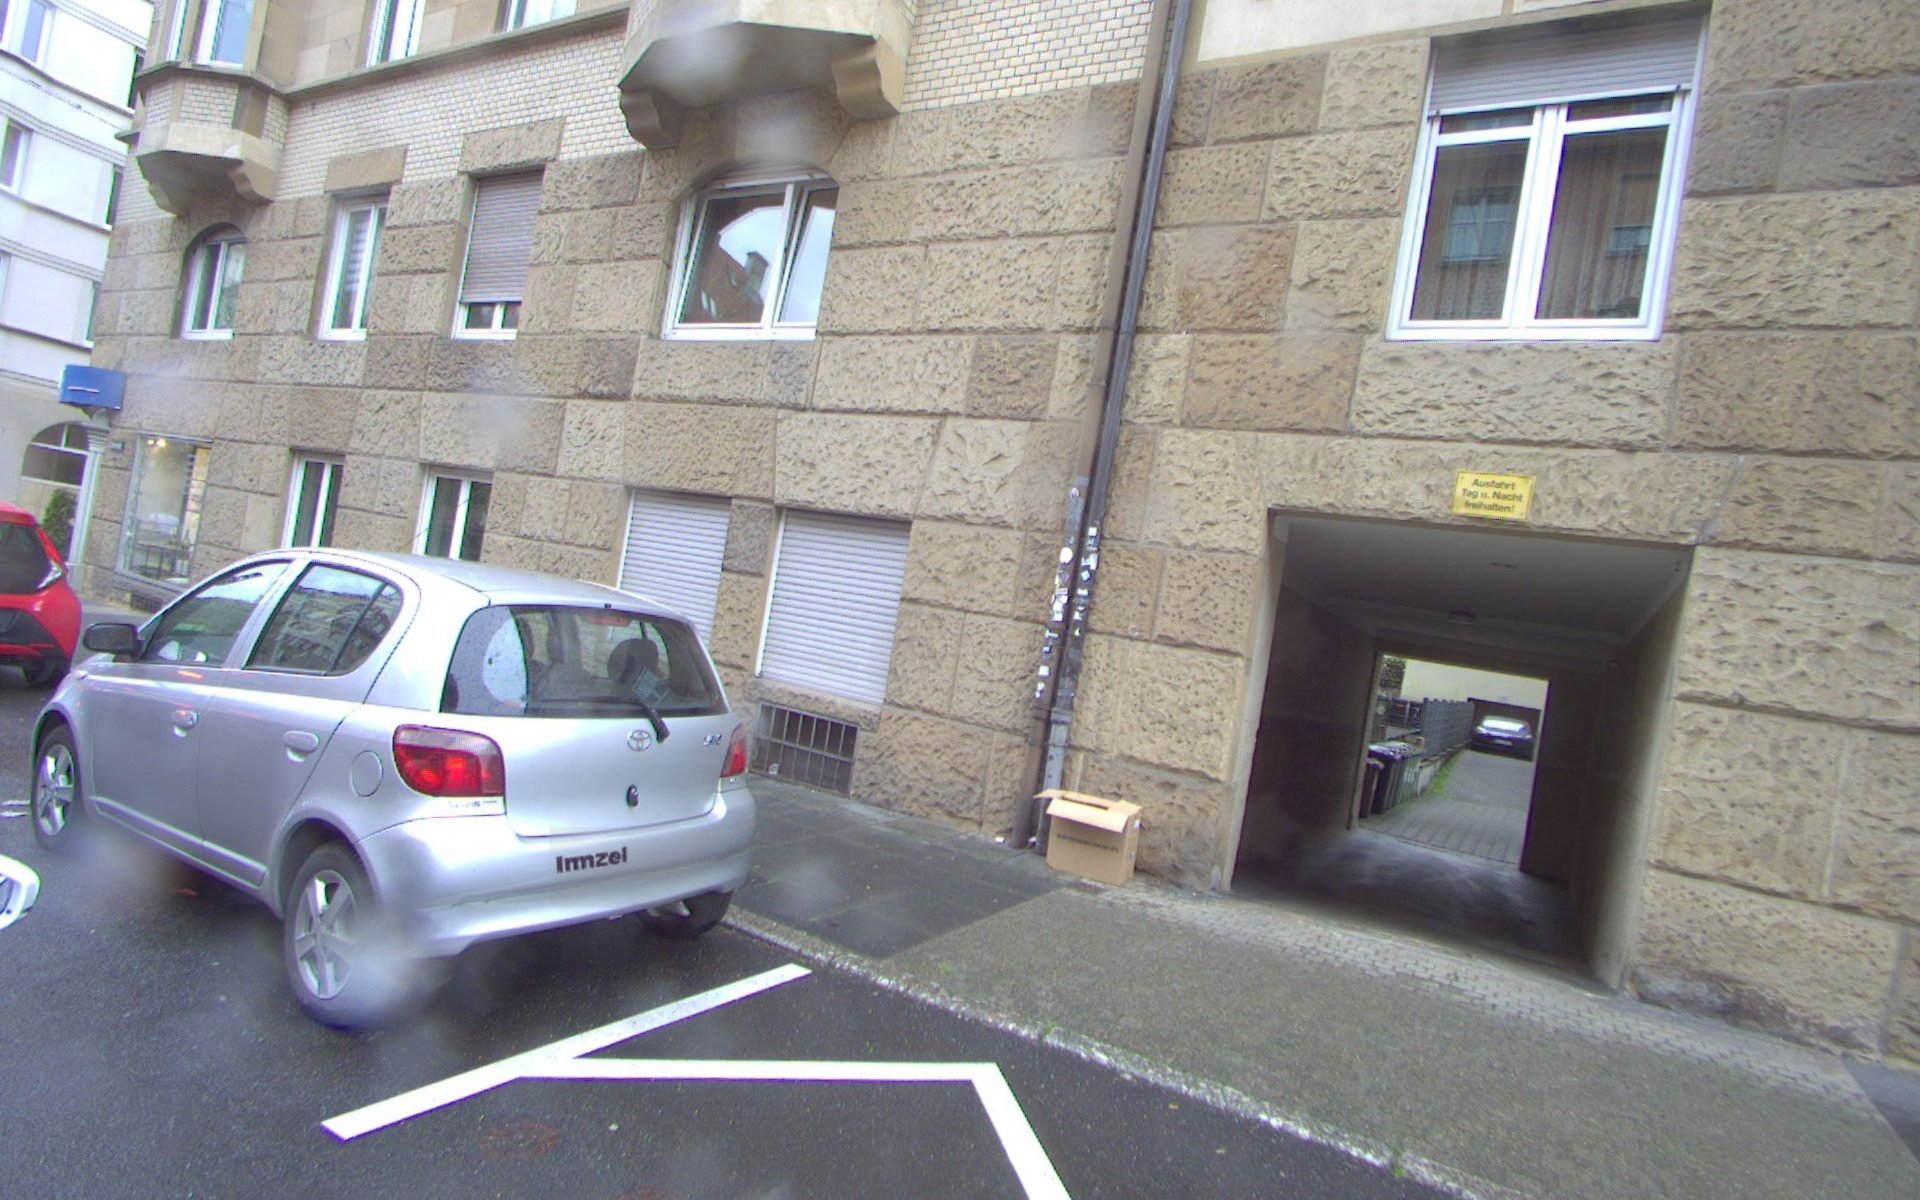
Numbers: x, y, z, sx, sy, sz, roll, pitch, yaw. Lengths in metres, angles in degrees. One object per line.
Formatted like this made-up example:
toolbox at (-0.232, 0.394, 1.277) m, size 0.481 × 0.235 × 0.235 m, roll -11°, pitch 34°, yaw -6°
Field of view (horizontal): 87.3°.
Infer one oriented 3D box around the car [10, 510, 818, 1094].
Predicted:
car at (-2.459, 0.554, 4.381) m, size 3.258 × 1.485 × 1.616 m, roll 7°, pitch 0°, yaw 33°

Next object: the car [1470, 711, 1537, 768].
car at (18.367, 4.692, 33.923) m, size 1.693 × 1.538 × 4.102 m, roll 7°, pitch -3°, yaw 31°

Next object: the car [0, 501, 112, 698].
car at (-8.708, -0.192, 8.159) m, size 3.243 × 1.464 × 1.646 m, roll 7°, pitch -2°, yaw 29°

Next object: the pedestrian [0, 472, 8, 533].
pedestrian at (-14.794, -1.081, 14.792) m, size 1.093 × 1.768 × 0.743 m, roll 6°, pitch -1°, yaw 32°
